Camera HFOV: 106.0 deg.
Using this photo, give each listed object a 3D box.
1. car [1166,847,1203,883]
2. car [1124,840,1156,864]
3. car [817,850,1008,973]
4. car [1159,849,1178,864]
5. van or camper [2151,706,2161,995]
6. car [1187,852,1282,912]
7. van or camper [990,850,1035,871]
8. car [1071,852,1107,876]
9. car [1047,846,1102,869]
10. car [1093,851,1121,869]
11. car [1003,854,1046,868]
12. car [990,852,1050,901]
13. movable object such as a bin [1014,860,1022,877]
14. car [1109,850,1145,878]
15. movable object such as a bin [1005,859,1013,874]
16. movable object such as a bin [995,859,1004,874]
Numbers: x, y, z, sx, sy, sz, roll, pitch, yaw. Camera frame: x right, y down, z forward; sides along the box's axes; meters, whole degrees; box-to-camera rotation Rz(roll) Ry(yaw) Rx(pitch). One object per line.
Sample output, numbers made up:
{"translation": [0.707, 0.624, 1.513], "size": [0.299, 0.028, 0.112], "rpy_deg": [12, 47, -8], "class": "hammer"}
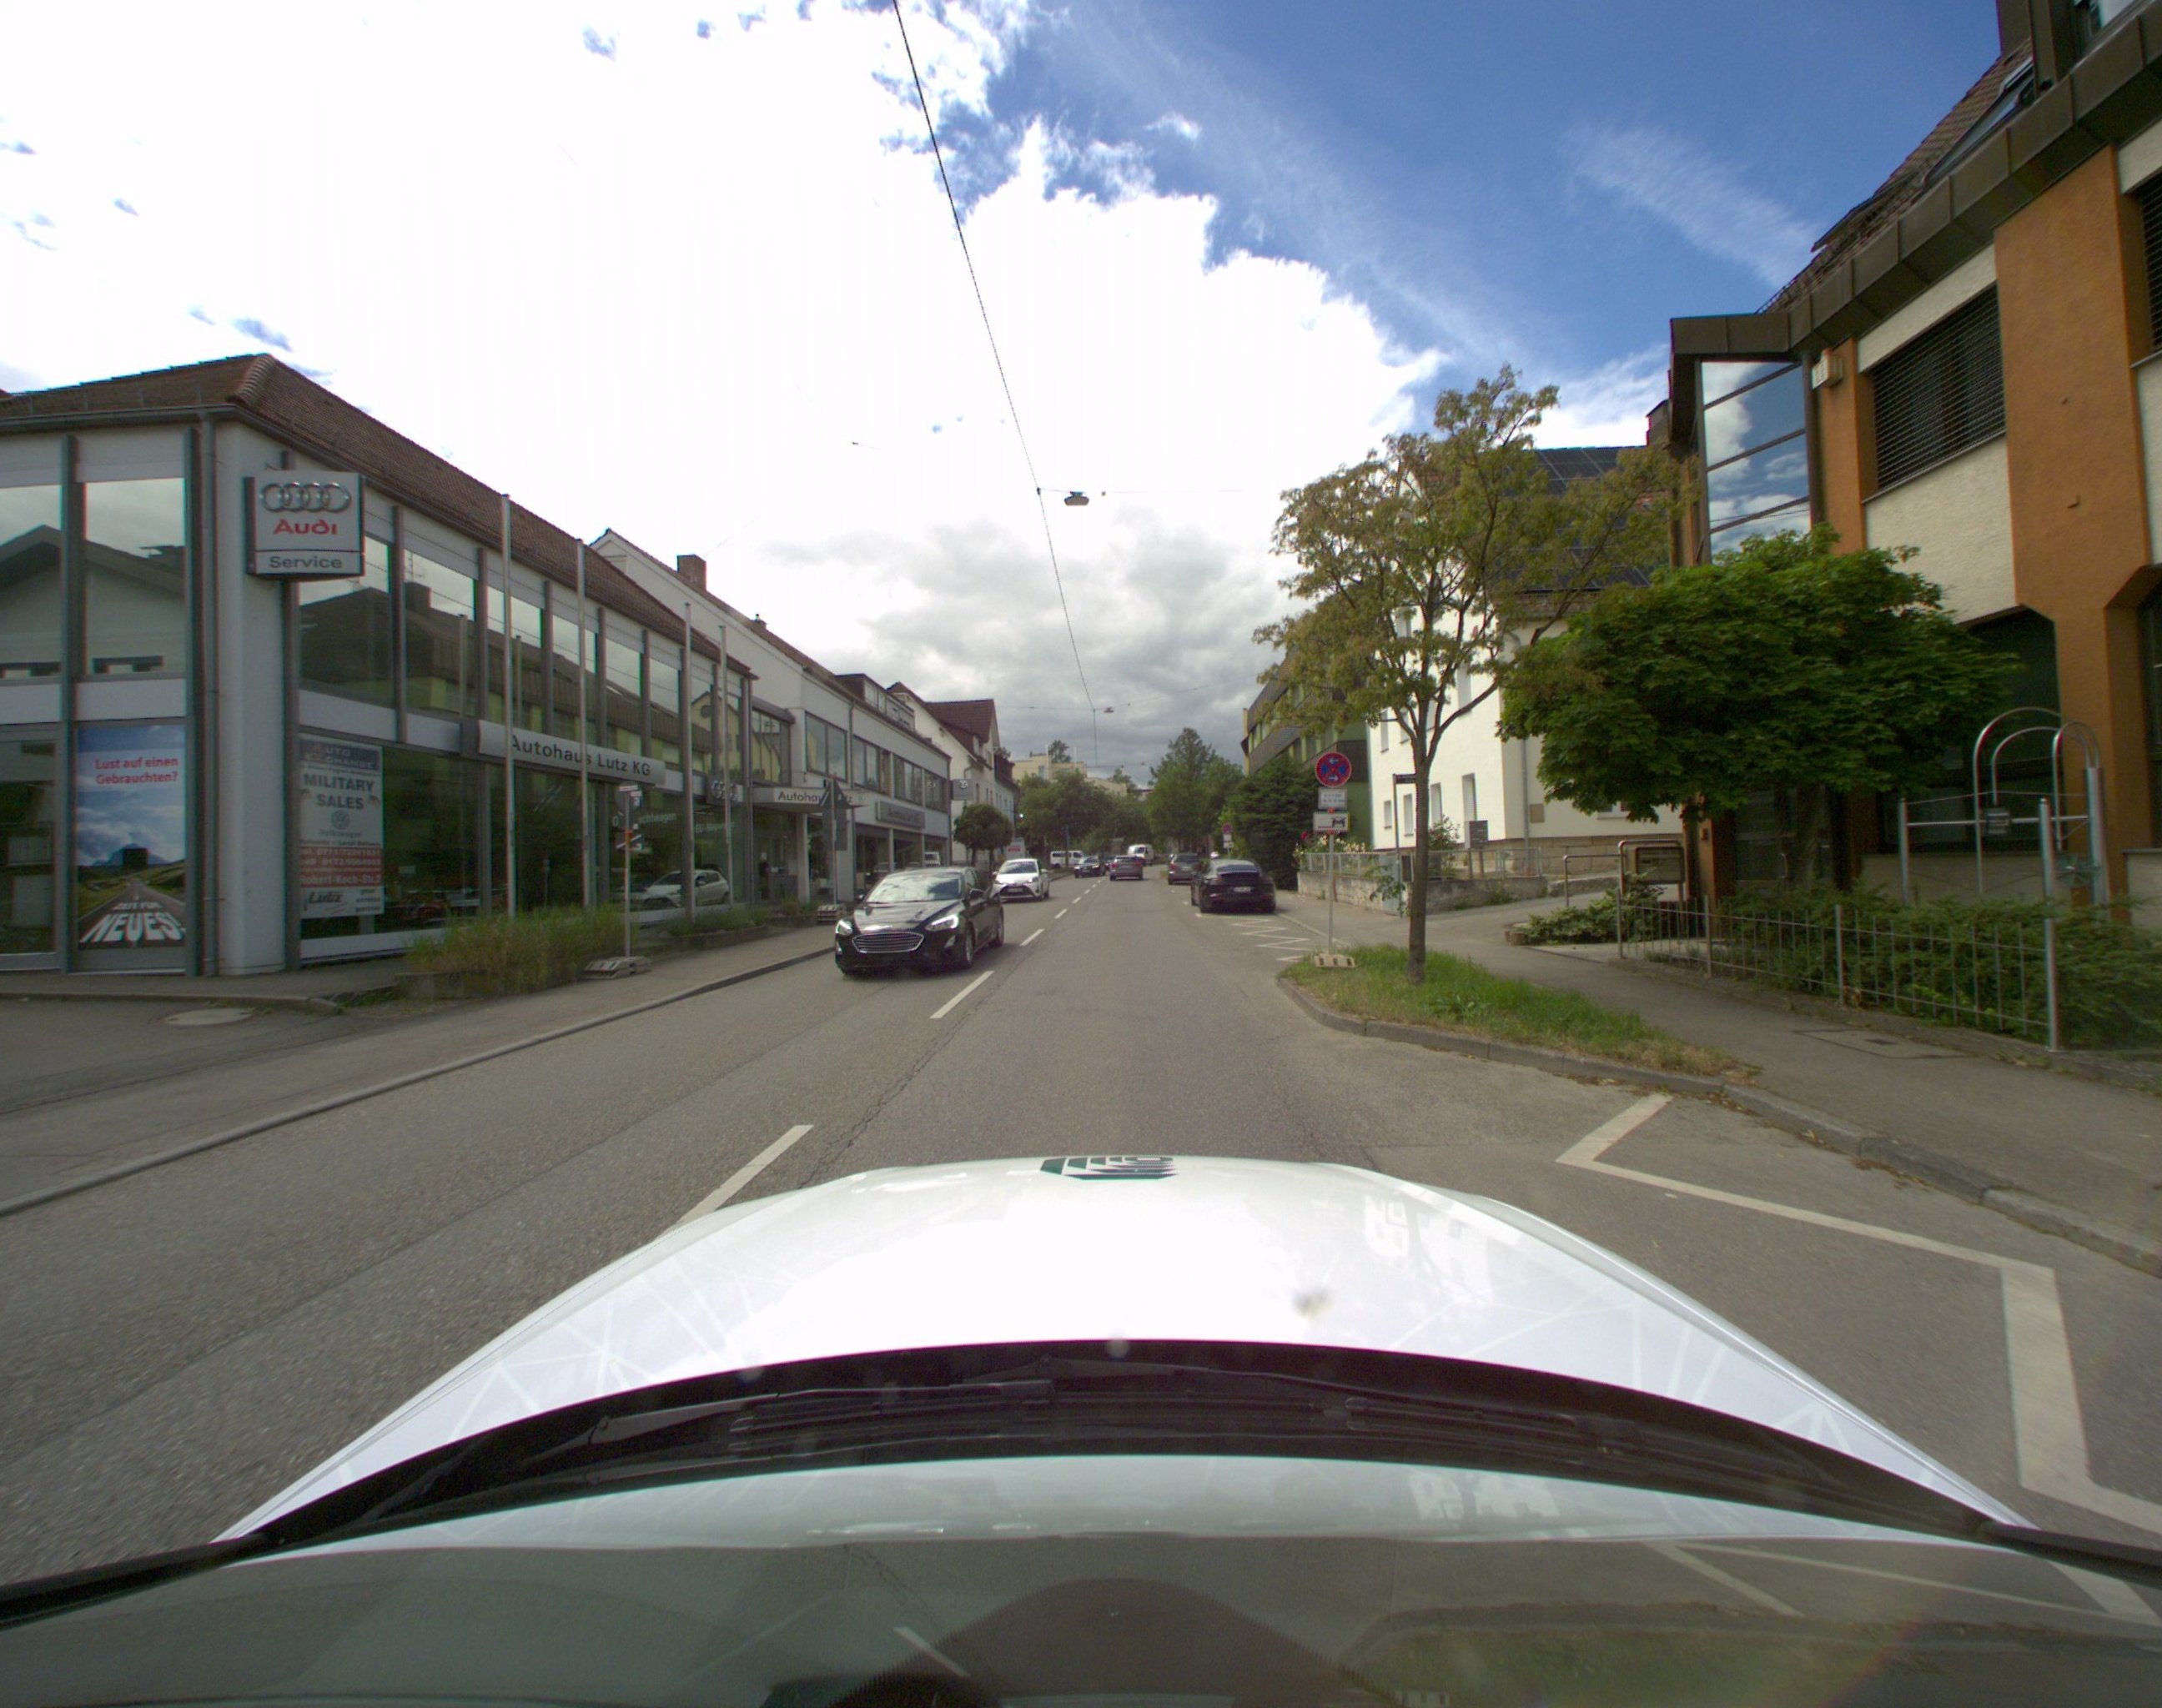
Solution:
{"translation": [5.297, 0.525, 41.929], "size": [1.681, 1.666, 4.469], "rpy_deg": [-2, 1, 5], "class": "car"}
{"translation": [6.282, -0.246, 86.089], "size": [2.046, 2.353, 5.207], "rpy_deg": [-4, 0, 18], "class": "car"}
{"translation": [-2.348, 0.763, 12.512], "size": [1.823, 1.523, 4.173], "rpy_deg": [-2, -1, 3], "class": "car"}
{"translation": [8.916, 0.265, 83.014], "size": [1.609, 1.523, 3.569], "rpy_deg": [-2, -1, 1], "class": "car"}
{"translation": [6.810, 0.156, 2.227], "size": [1.859, 2.032, 4.550], "rpy_deg": [-1, -1, 2], "class": "van or camper"}
{"translation": [4.118, 0.725, 22.638], "size": [1.976, 1.448, 4.756], "rpy_deg": [-2, -1, 3], "class": "car"}
{"translation": [-6.599, 0.612, 78.899], "size": [1.767, 1.994, 4.407], "rpy_deg": [-2, -2, 39], "class": "van or camper"}
{"translation": [0.603, 0.672, 58.062], "size": [1.765, 1.523, 4.474], "rpy_deg": [-4, 0, 9], "class": "car"}
{"translation": [-0.676, 0.349, 85.258], "size": [5.168, 1.993, 2.119], "rpy_deg": [-4, 0, 20], "class": "car"}
{"translation": [2.305, 0.544, 71.660], "size": [1.759, 1.425, 4.121], "rpy_deg": [-3, 0, 11], "class": "car"}
{"translation": [-5.770, 0.735, 83.260], "size": [3.986, 1.413, 1.823], "rpy_deg": [-1, -2, 15], "class": "car"}
{"translation": [-2.129, 0.776, 29.333], "size": [1.683, 1.579, 3.802], "rpy_deg": [-2, -1, 3], "class": "car"}
{"translation": [-4.663, 1.071, 60.149], "size": [0.563, 1.273, 0.563], "rpy_deg": [0, 0, -1], "class": "movable object such as a bin"}
{"translation": [2.664, 0.575, 47.830], "size": [1.948, 1.523, 4.331], "rpy_deg": [-2, 0, 2], "class": "car"}
{"translation": [-5.312, 0.930, 60.098], "size": [0.563, 1.101, 0.563], "rpy_deg": [0, -1, -1], "class": "movable object such as a bin"}
{"translation": [-6.017, 0.900, 60.056], "size": [0.563, 1.101, 0.563], "rpy_deg": [0, -1, -1], "class": "movable object such as a bin"}
